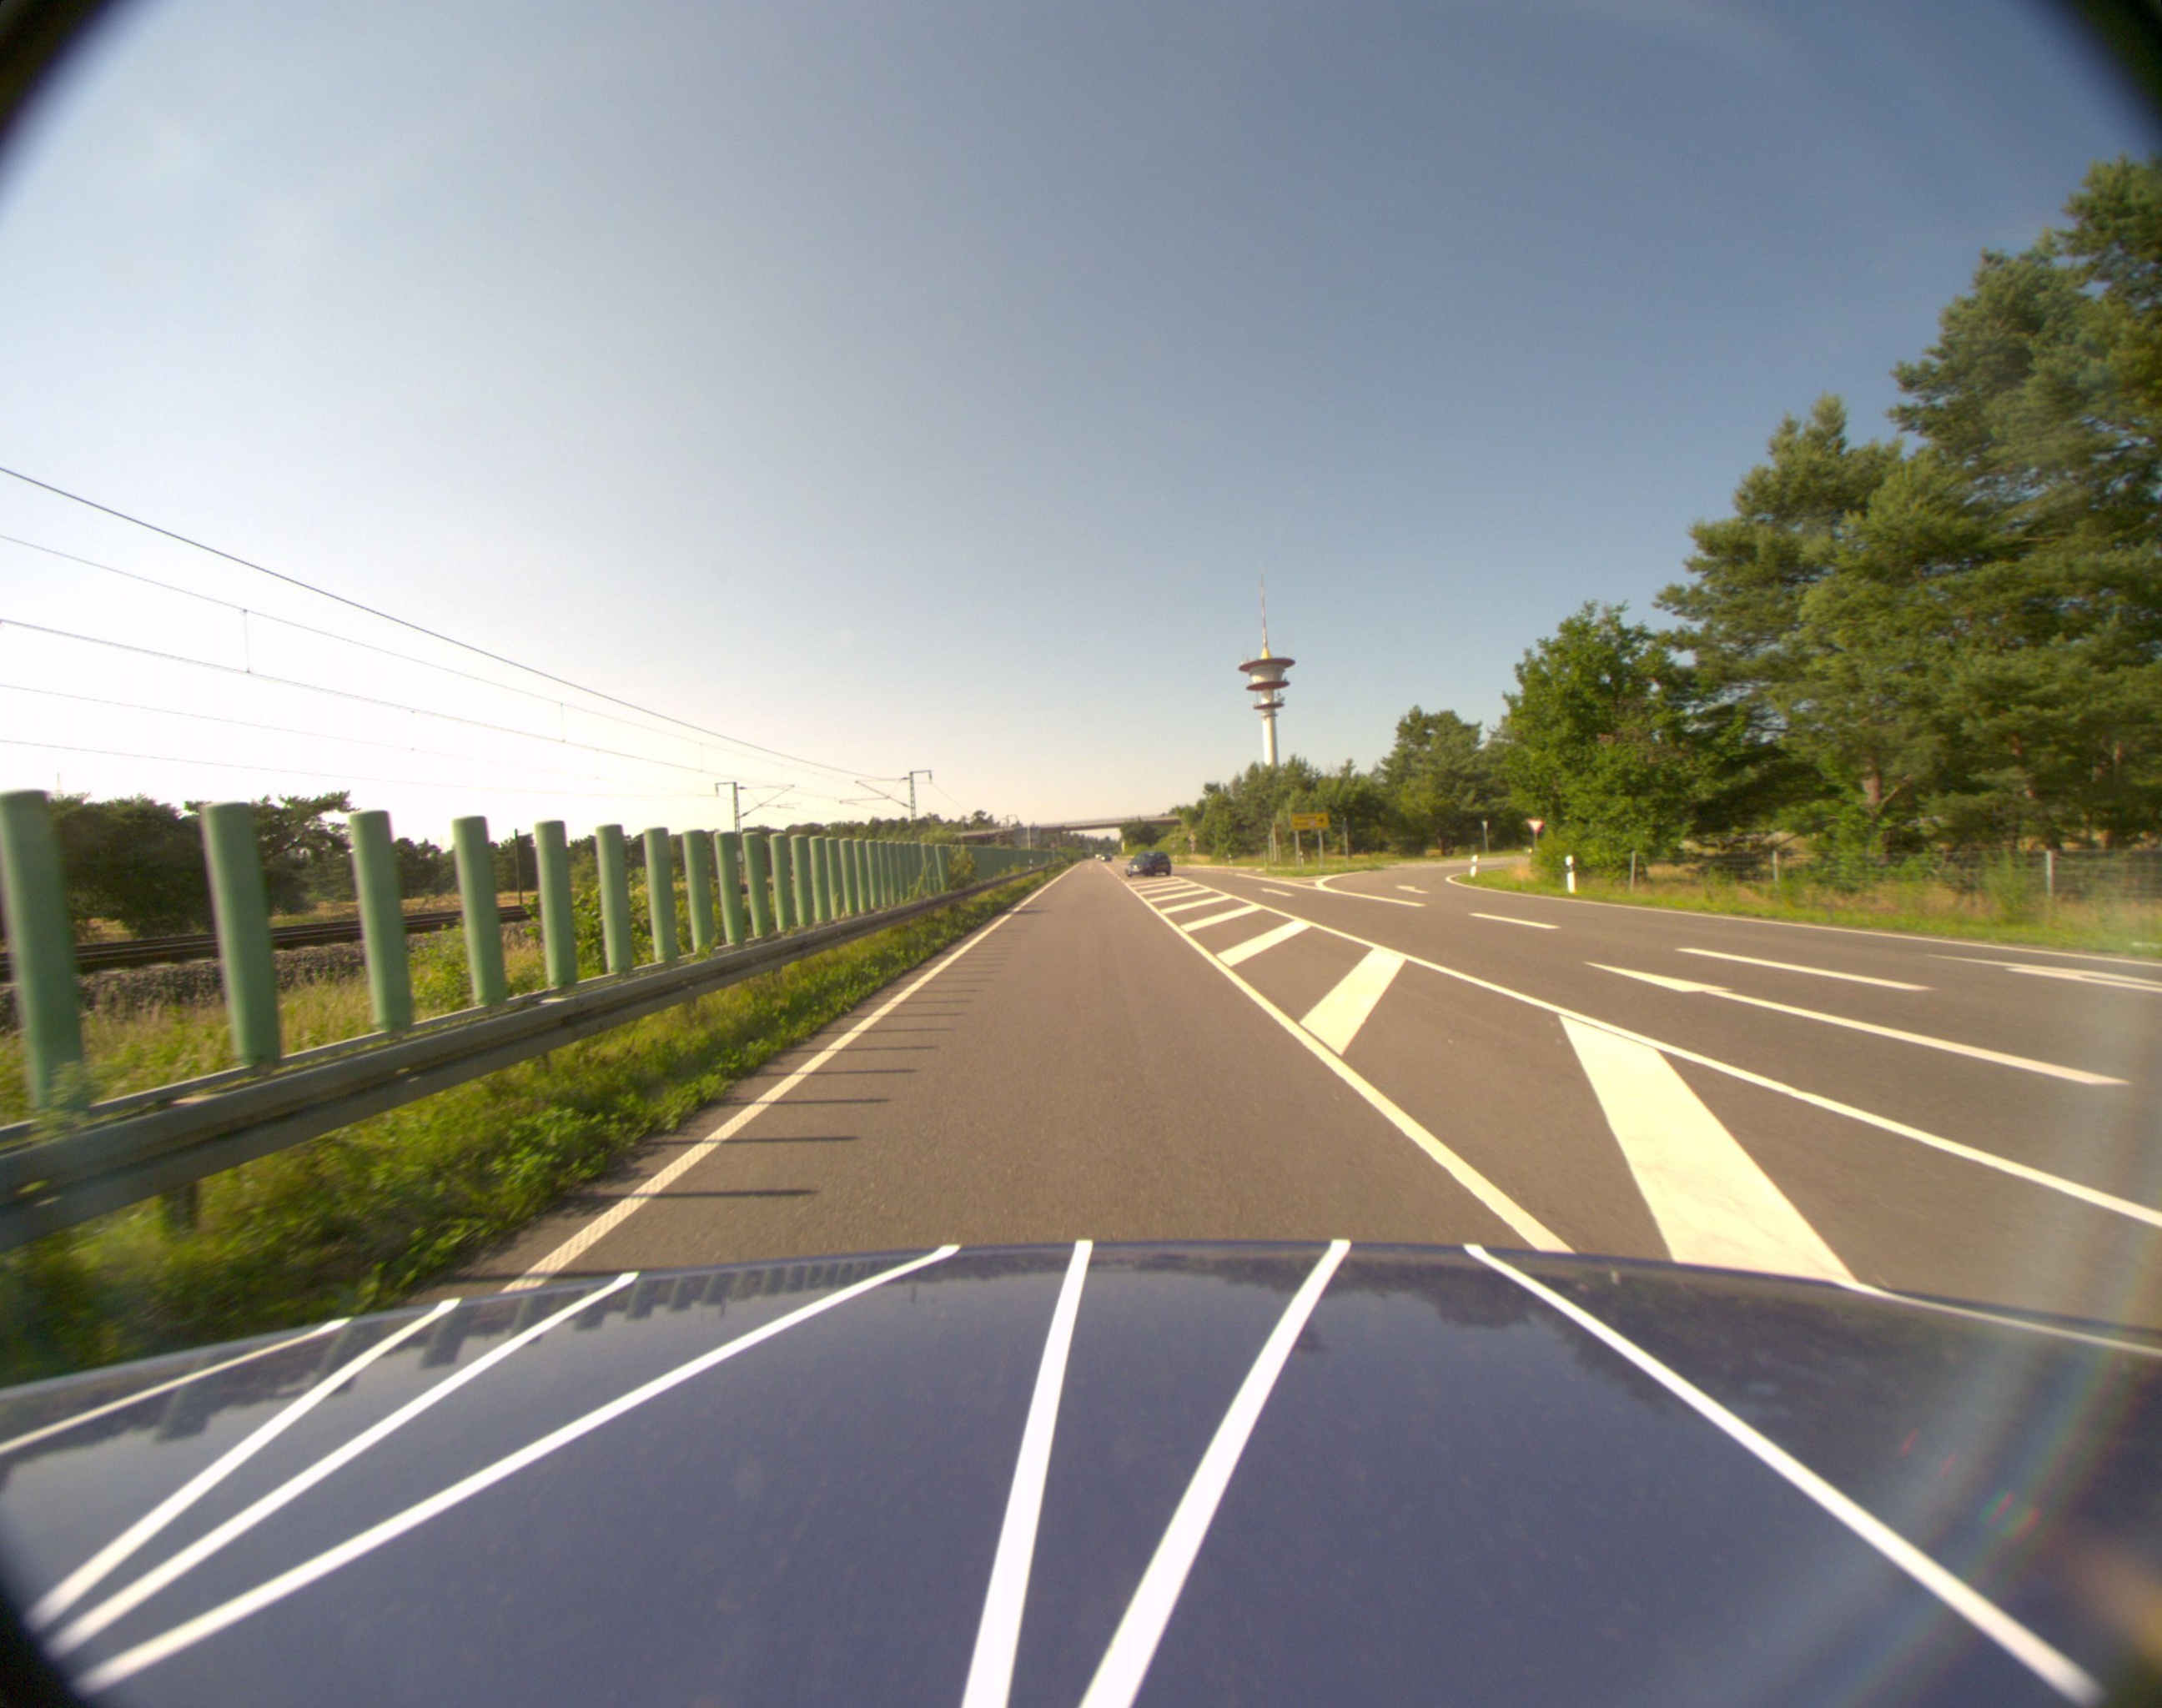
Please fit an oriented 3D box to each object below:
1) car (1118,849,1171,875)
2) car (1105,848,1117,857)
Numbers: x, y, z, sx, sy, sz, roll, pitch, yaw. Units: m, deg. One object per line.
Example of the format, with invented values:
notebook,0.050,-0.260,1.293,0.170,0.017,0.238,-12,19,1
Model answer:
car,4.082,0.467,48.185,1.865,1.533,4.083,-1,1,28
car,5.283,-0.198,134.860,1.998,1.533,4.332,-1,0,2
